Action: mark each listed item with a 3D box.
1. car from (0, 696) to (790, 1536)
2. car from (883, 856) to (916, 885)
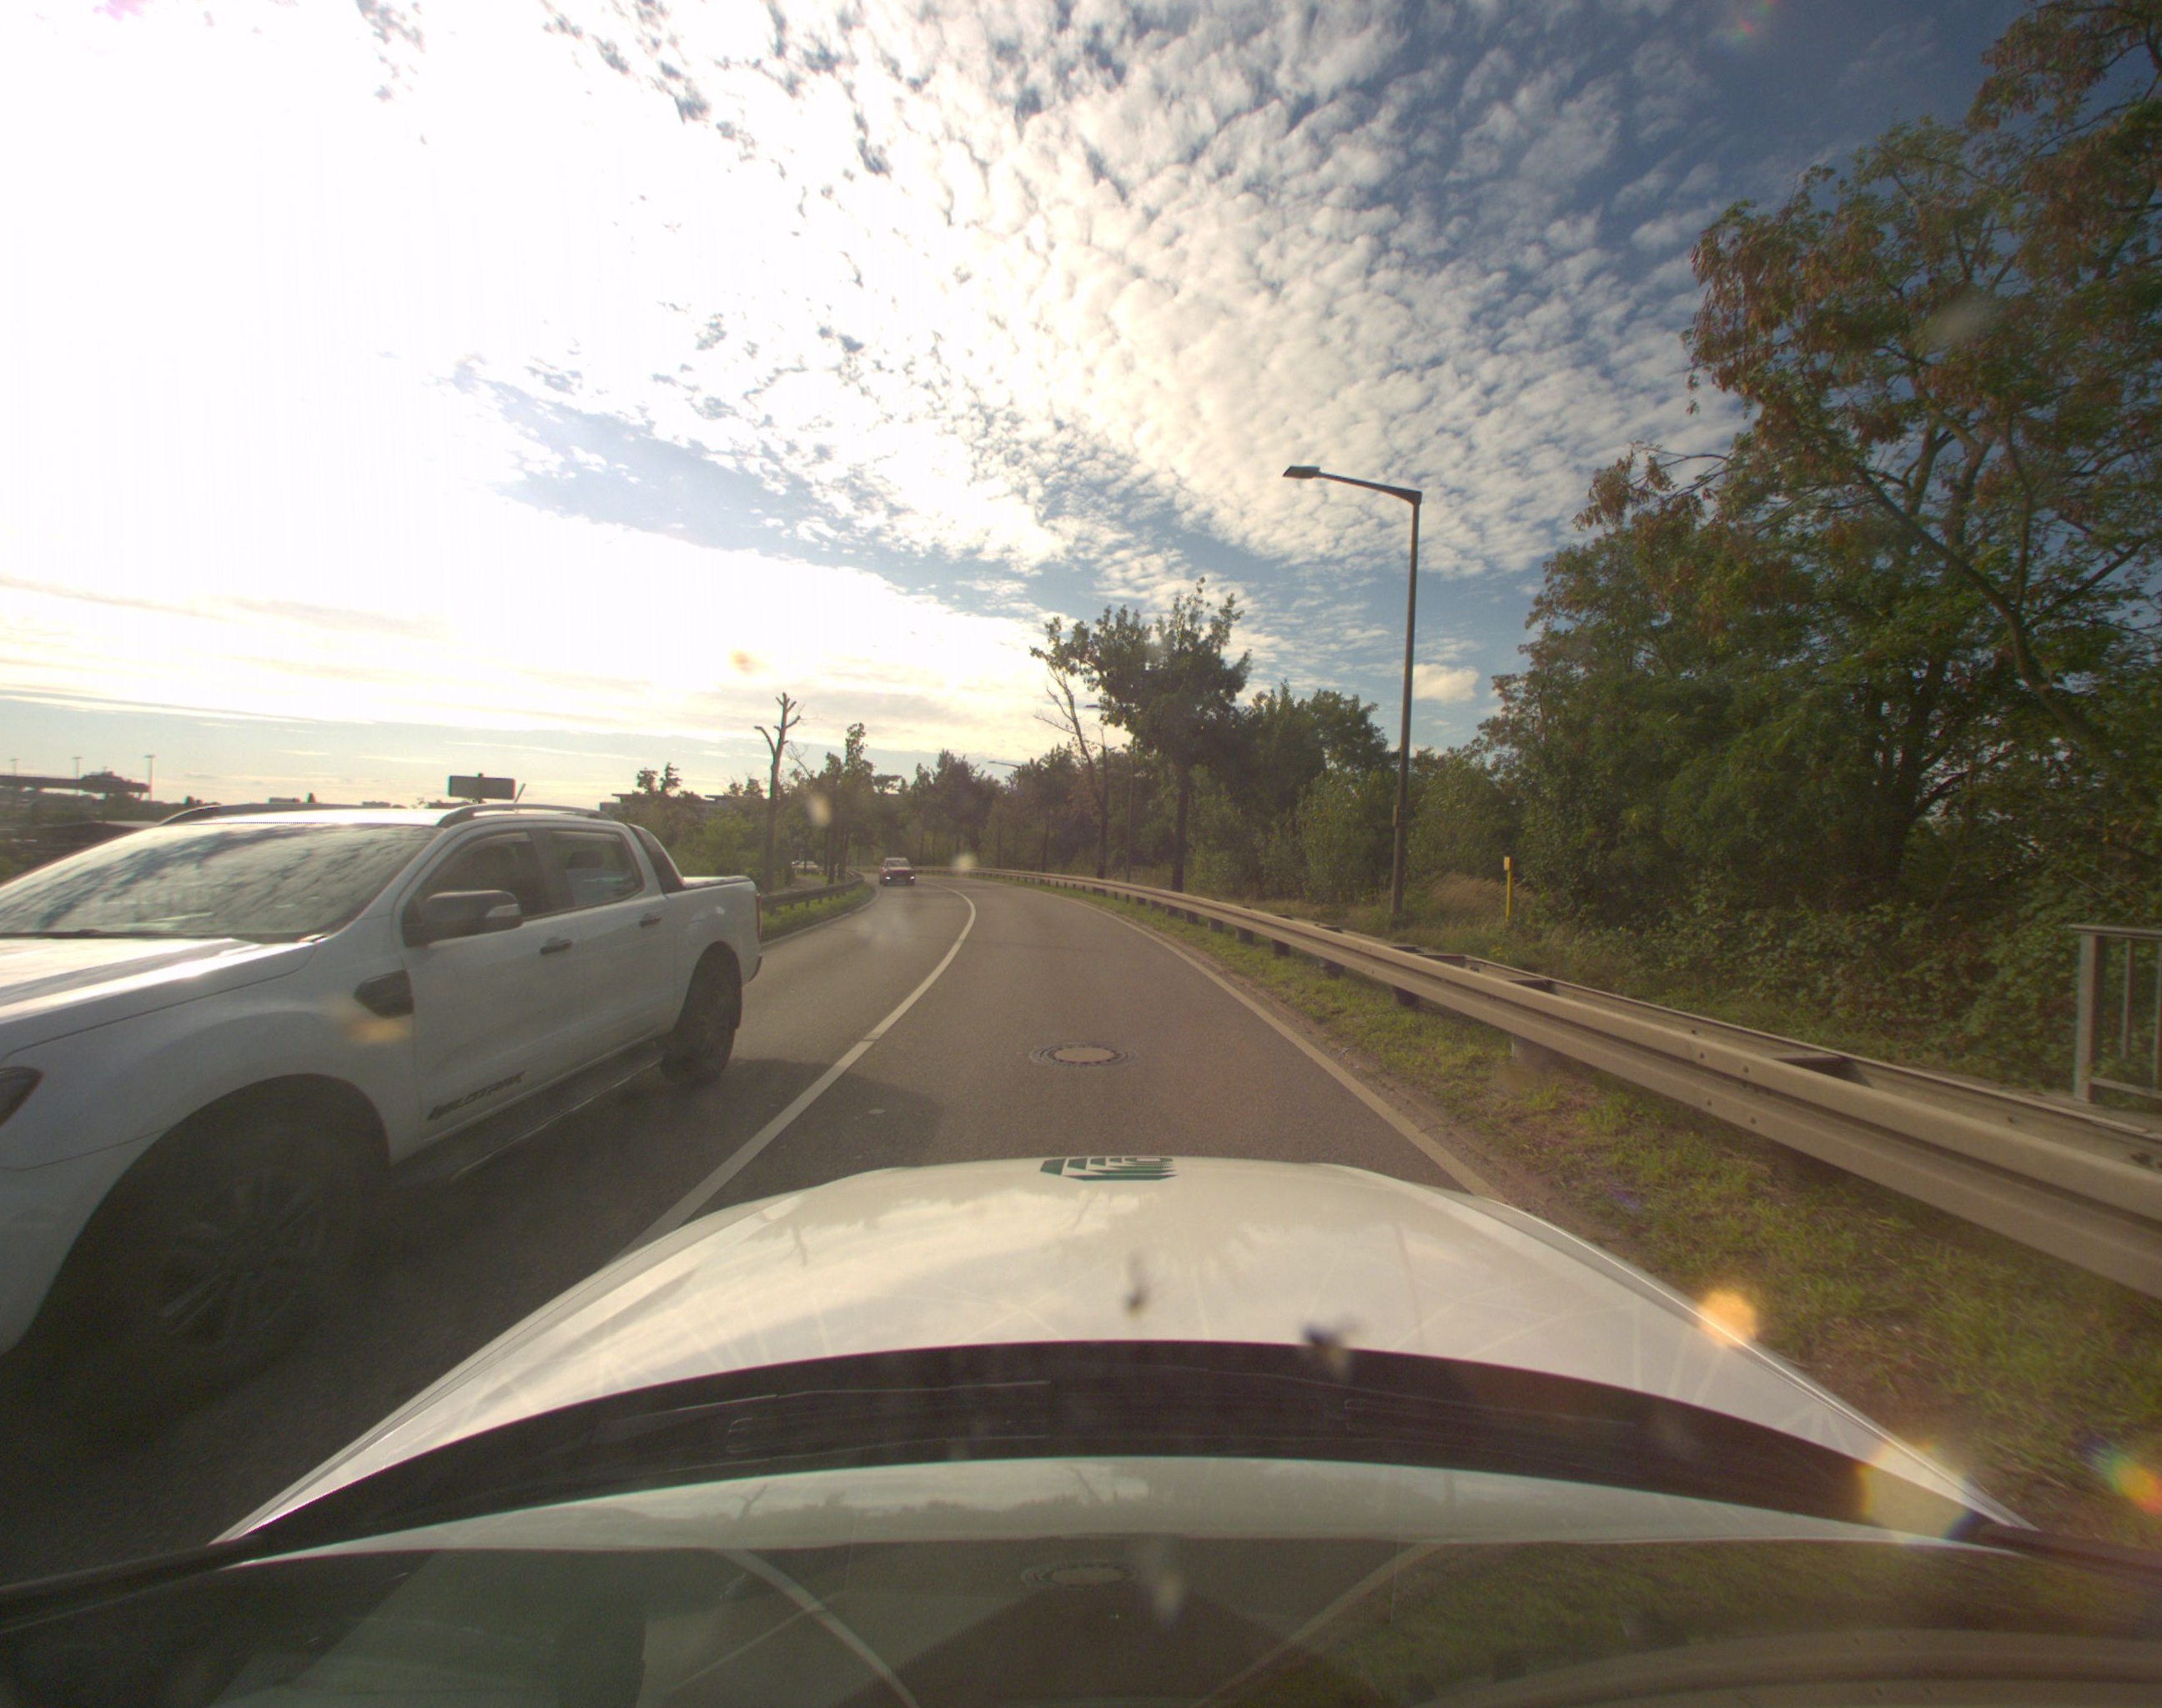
[{"bbox_3d":[-3.359,0.596,4.205,1.896,1.810,5.400,-1,0,-2],"label":"car"},{"bbox_3d":[-11.150,0.992,49.877,1.812,1.674,4.275,0,-1,-15],"label":"car"}]
